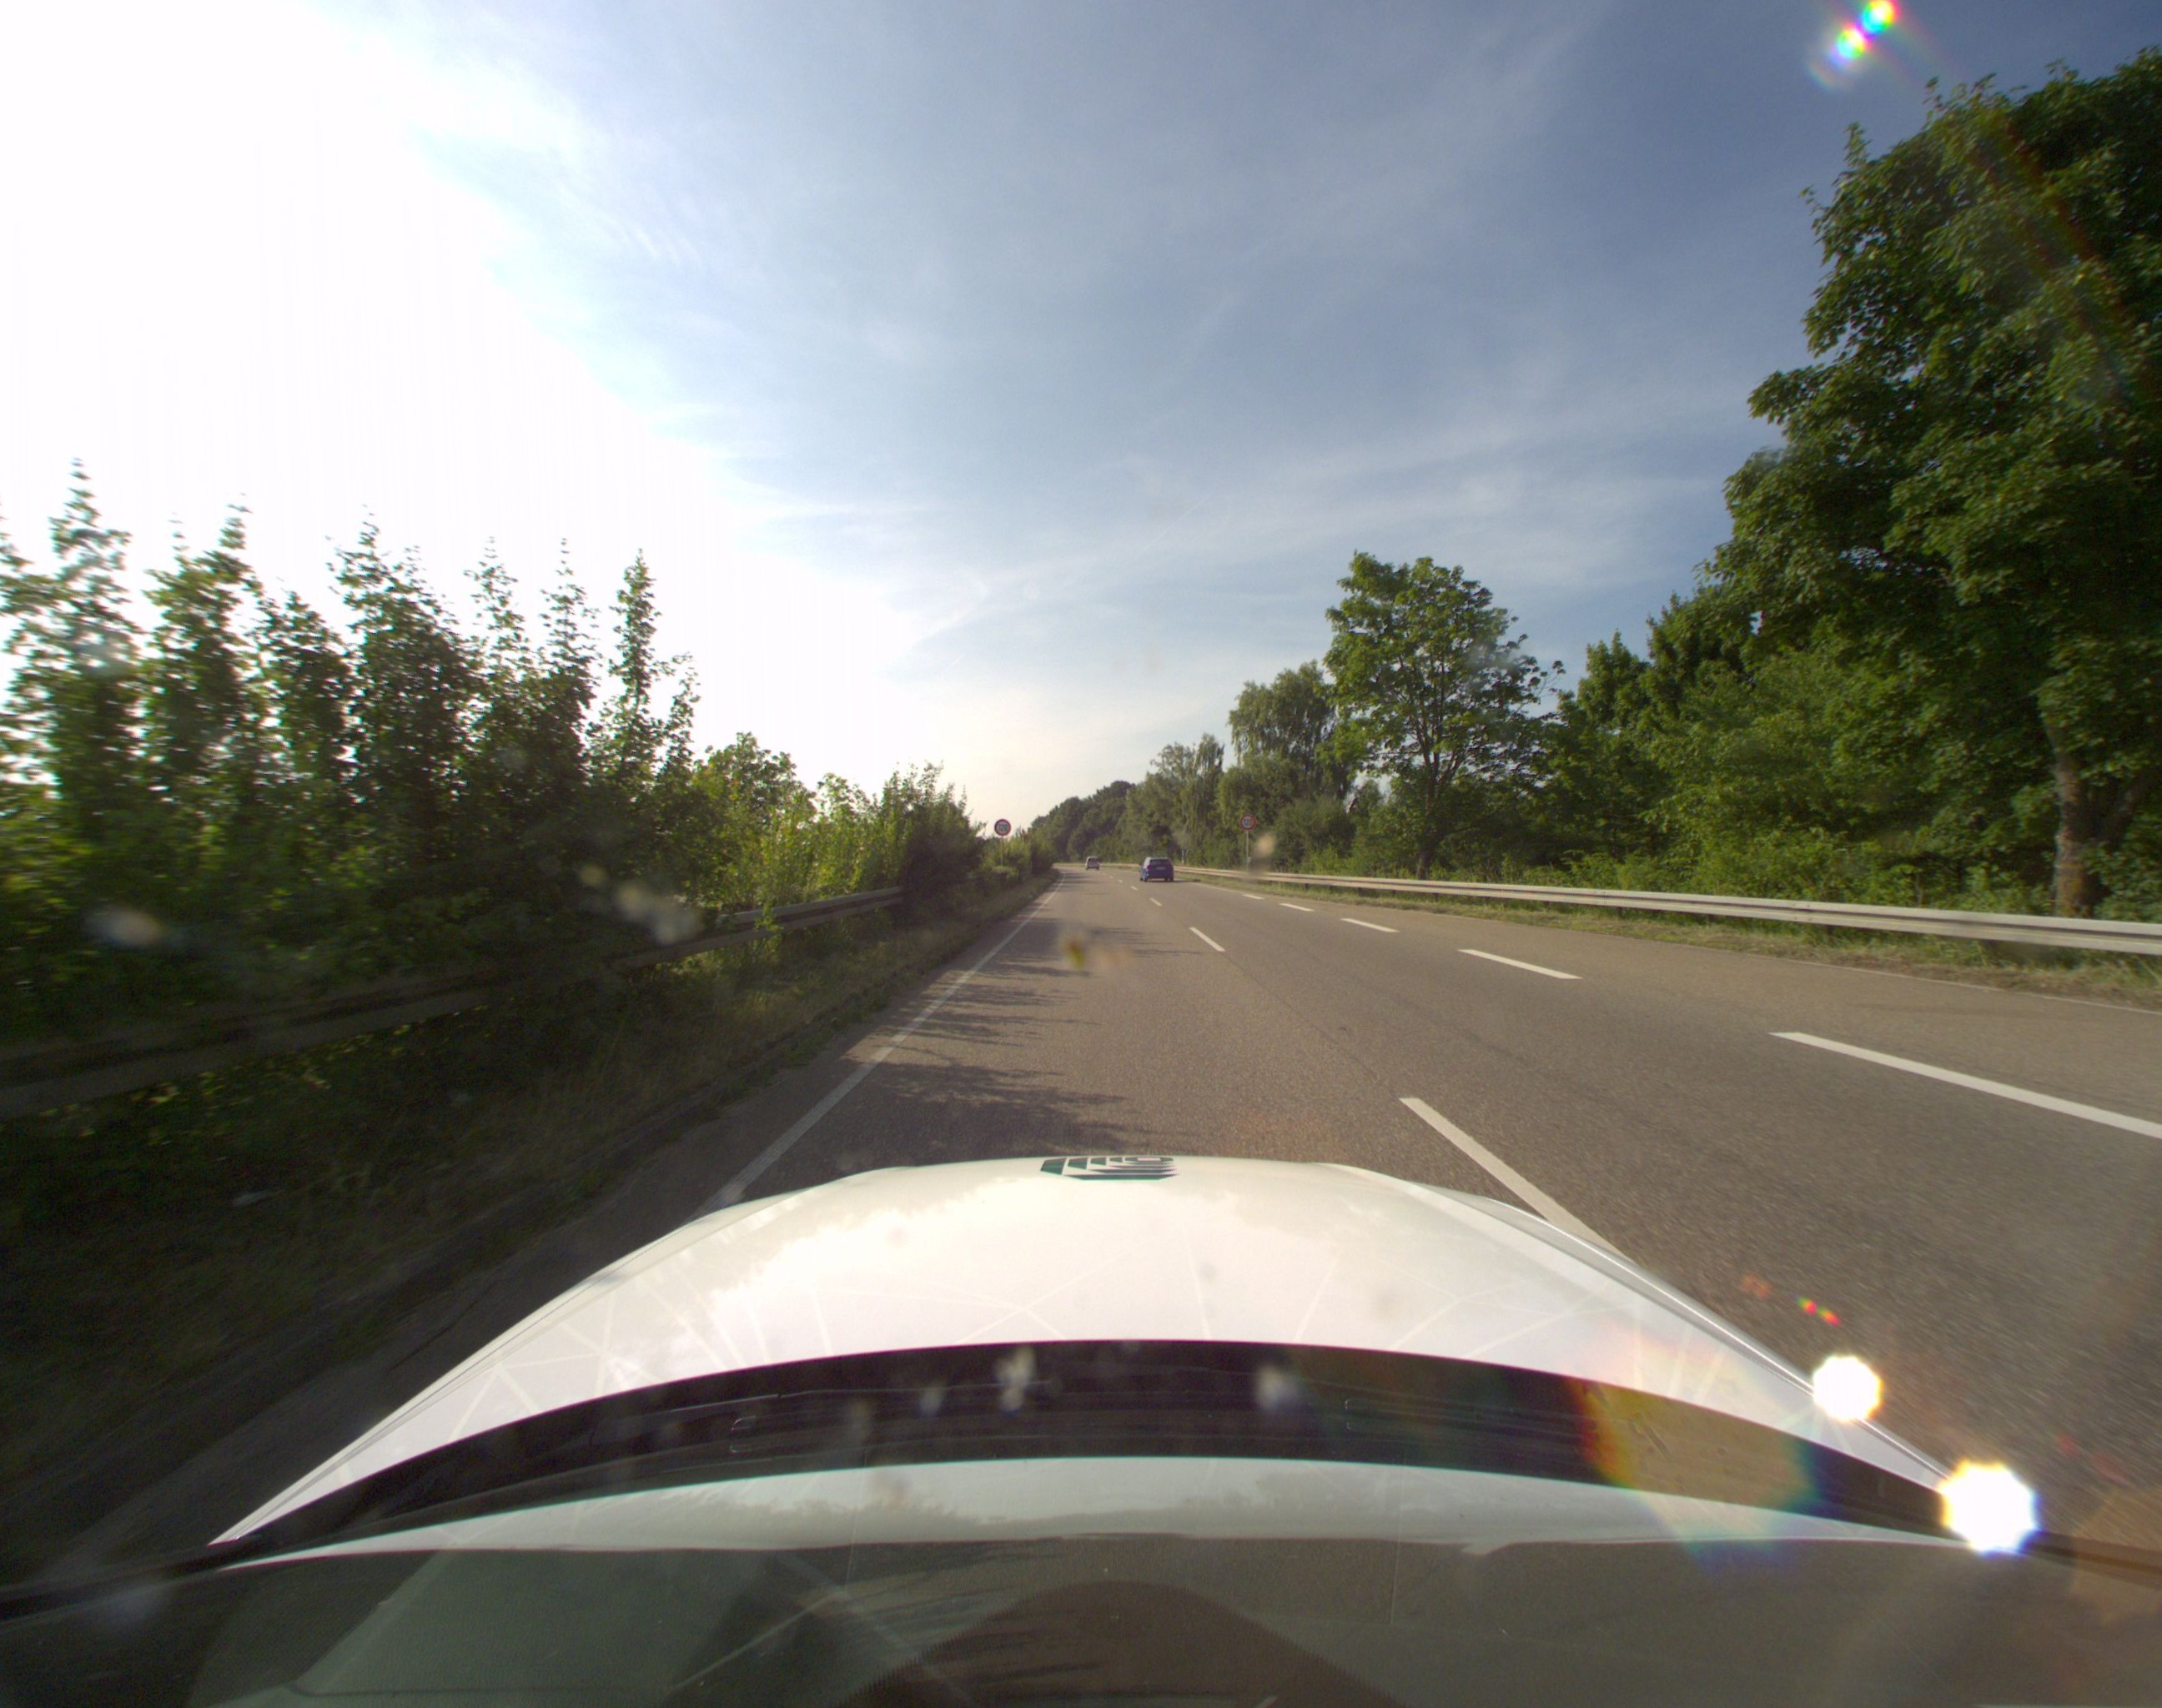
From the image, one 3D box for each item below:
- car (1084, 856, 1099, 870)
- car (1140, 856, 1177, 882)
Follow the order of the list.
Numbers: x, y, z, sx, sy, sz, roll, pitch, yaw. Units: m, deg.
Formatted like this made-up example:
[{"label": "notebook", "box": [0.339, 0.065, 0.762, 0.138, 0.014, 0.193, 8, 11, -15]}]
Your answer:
[{"label": "car", "box": [1.416, 1.229, 111.656, 1.761, 1.882, 3.996, -1, 0, -2]}, {"label": "car", "box": [4.554, 0.853, 48.478, 1.774, 1.451, 3.998, -1, -1, -1]}]
